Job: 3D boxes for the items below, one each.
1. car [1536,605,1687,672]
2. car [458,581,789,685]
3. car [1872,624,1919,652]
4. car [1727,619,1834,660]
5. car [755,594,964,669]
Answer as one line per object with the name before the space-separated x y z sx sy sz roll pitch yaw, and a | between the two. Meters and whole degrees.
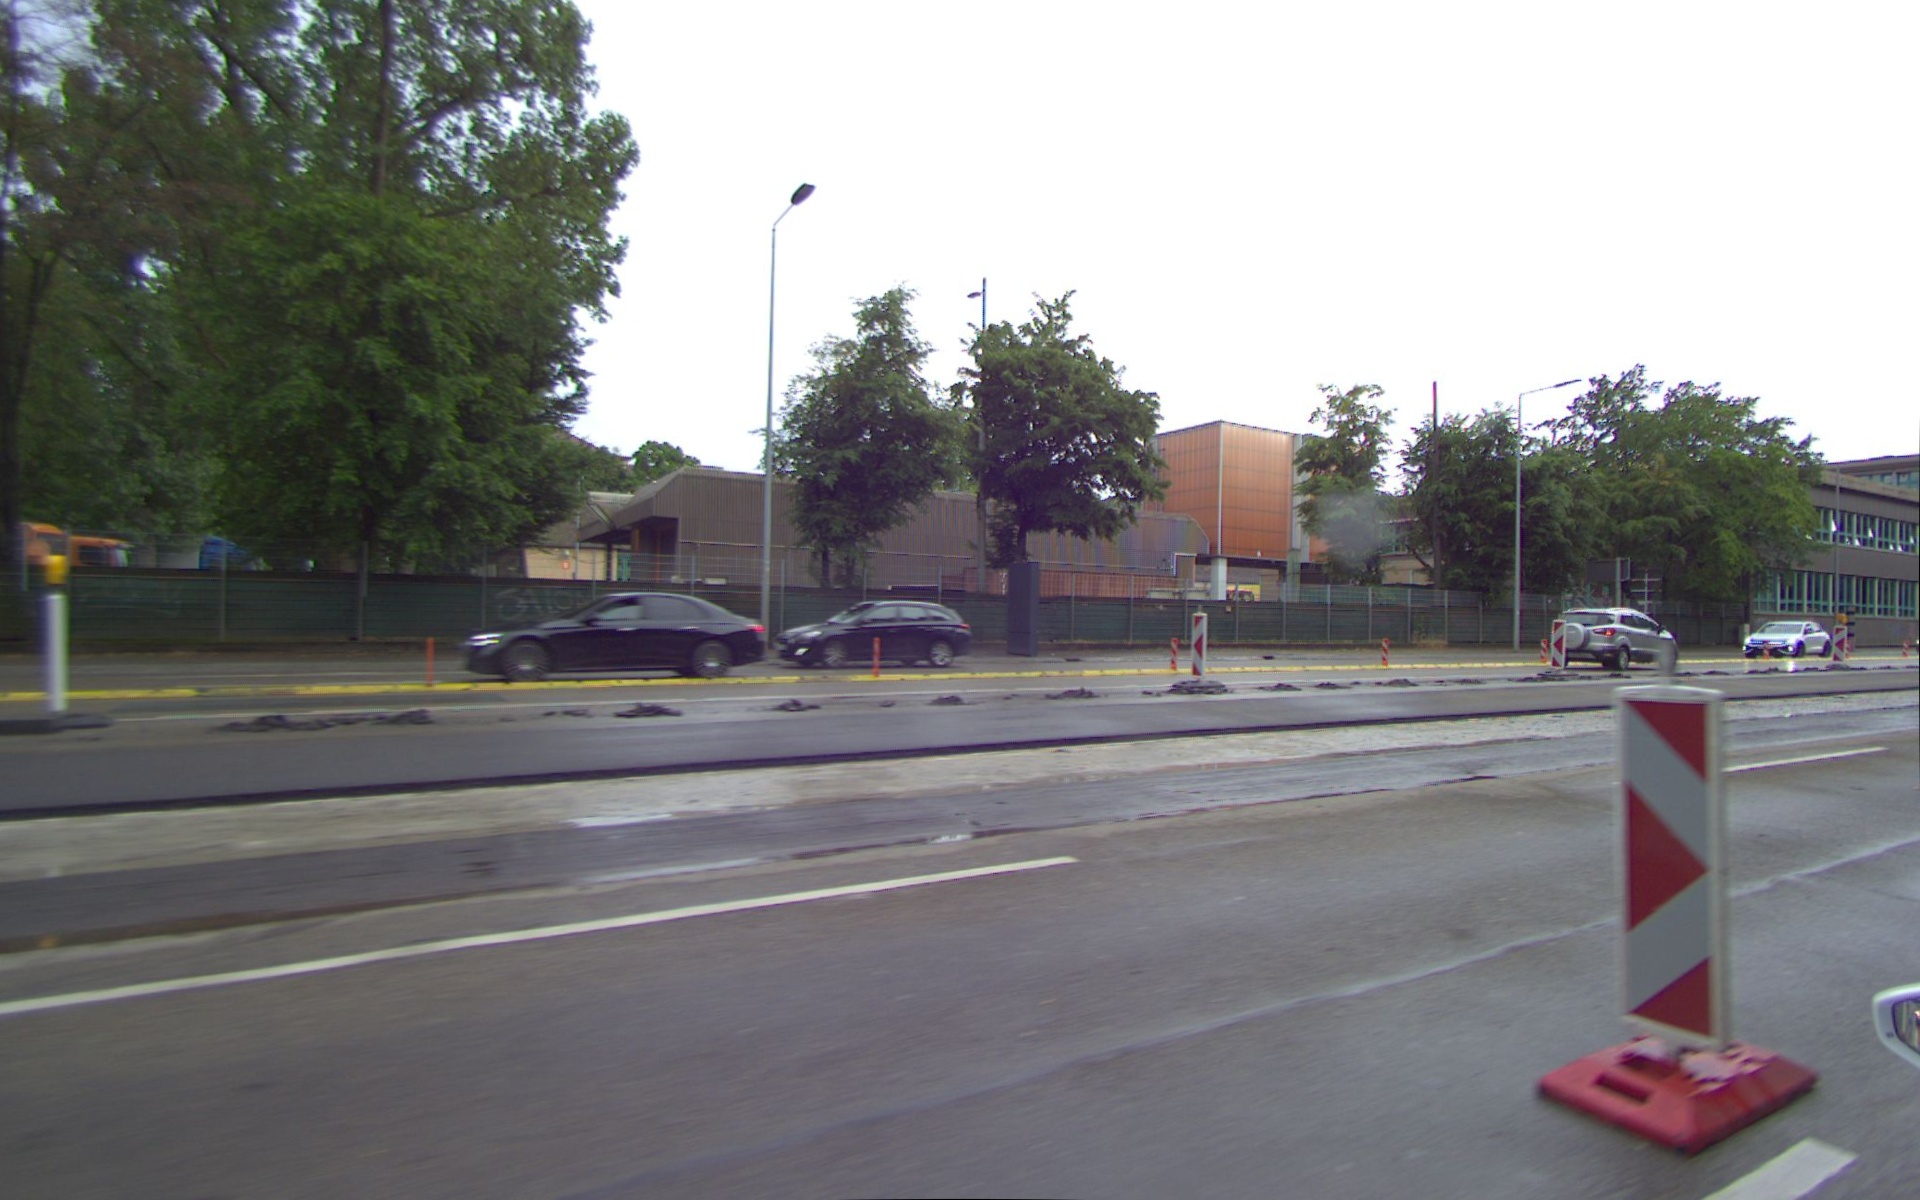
car | 17.594 1.035 27.099 3.954 1.670 1.845 2 0 -31
car | -5.652 0.523 17.054 5.030 1.533 2.068 1 0 -30
car | 52.672 2.096 55.721 4.217 1.448 1.983 1 0 -32
car | 33.162 1.582 40.588 4.216 1.533 1.984 1 0 -30
car | -2.242 0.711 22.659 4.255 1.538 1.984 2 0 -31
